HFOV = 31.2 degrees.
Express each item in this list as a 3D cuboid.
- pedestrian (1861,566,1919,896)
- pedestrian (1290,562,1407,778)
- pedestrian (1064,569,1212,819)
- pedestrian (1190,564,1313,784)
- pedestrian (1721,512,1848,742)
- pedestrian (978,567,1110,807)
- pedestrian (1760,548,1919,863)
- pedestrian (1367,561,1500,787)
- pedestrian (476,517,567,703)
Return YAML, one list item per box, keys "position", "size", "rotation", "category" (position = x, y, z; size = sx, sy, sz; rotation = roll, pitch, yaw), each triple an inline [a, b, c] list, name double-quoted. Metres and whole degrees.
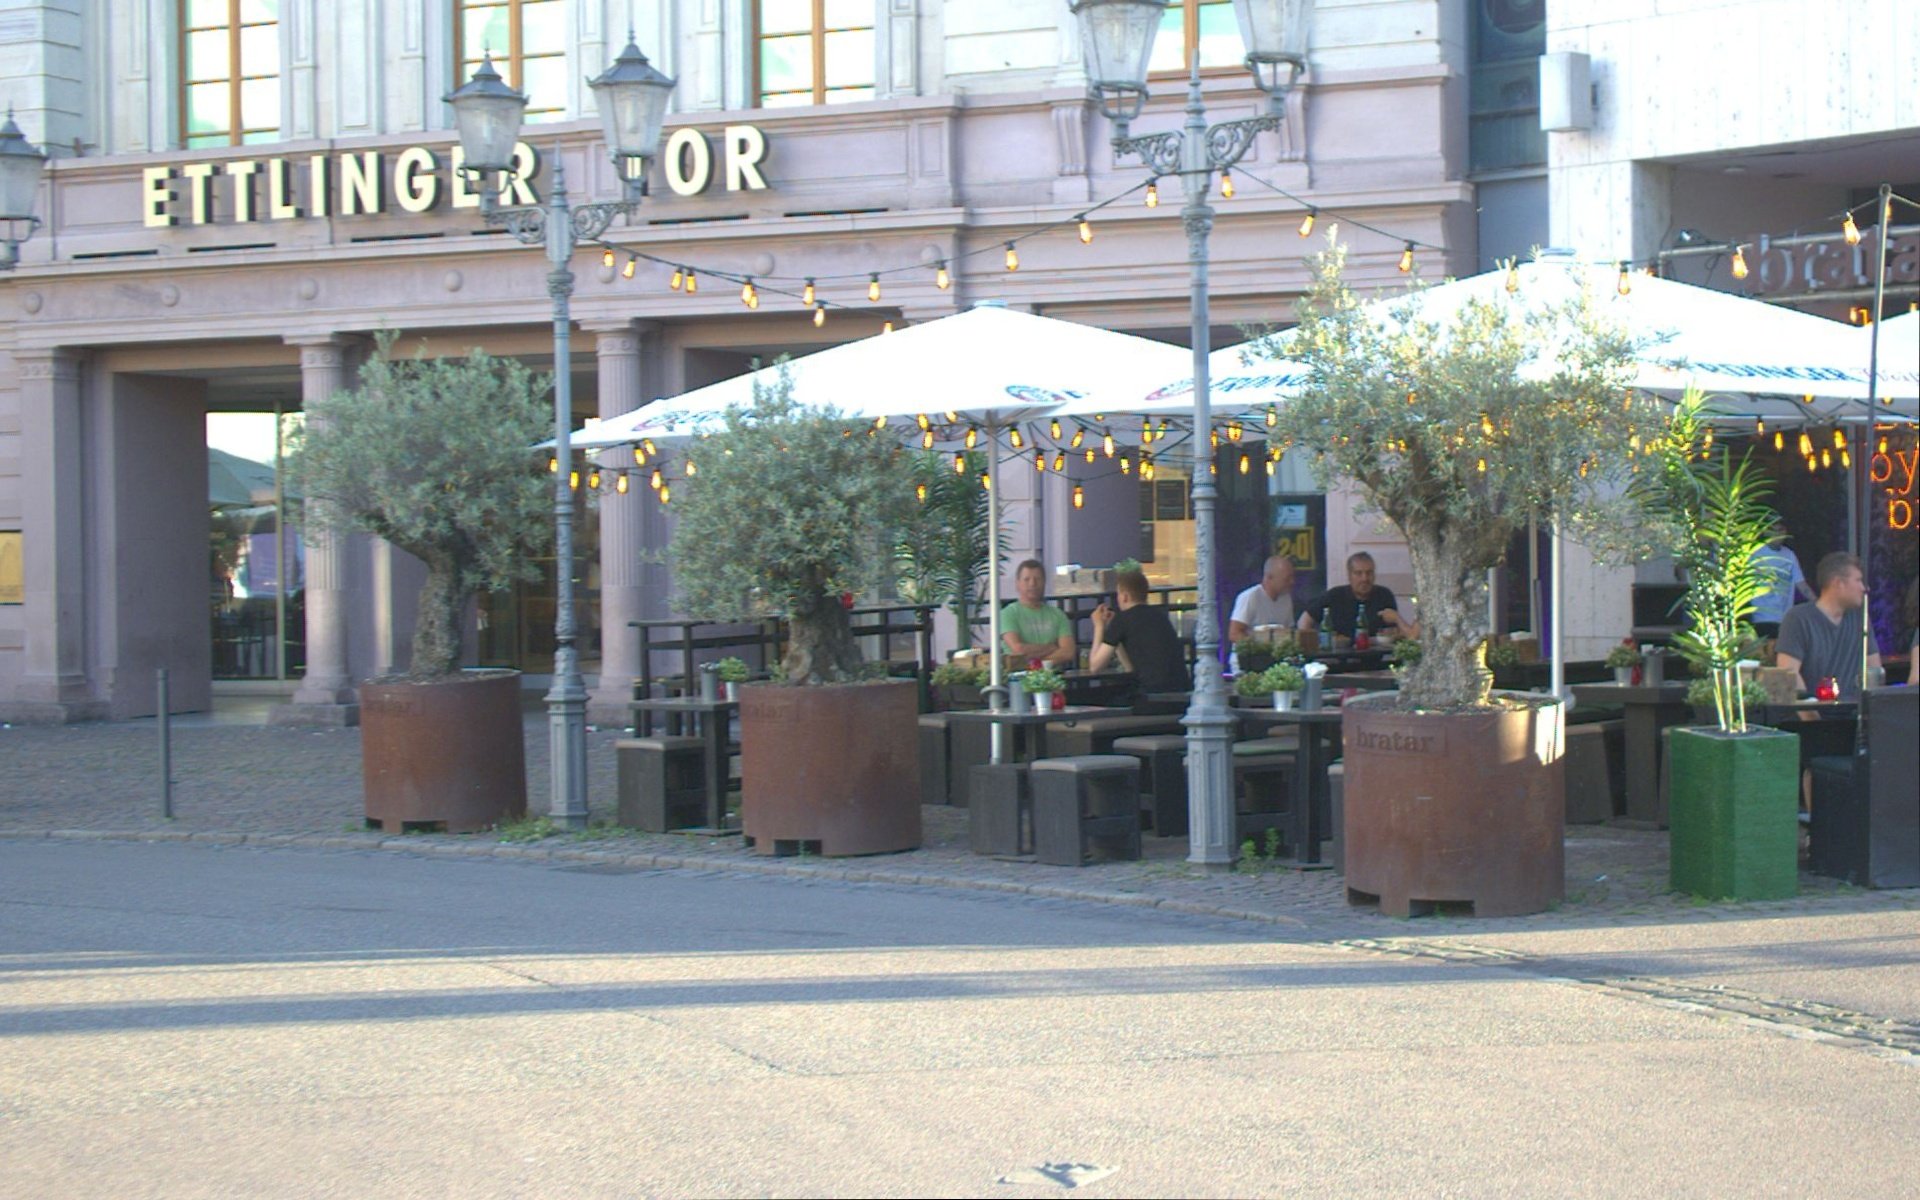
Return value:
- position: [4.500, 0.585, 15.689]
  size: [0.528, 1.473, 0.563]
  rotation: [-1, 1, -17]
  category: "pedestrian"
- position: [2.709, 0.475, 23.995]
  size: [0.543, 1.473, 0.624]
  rotation: [-1, 1, -26]
  category: "pedestrian"
- position: [1.078, 0.553, 20.868]
  size: [0.587, 1.473, 0.684]
  rotation: [-1, 1, -34]
  category: "pedestrian"
- position: [1.995, 0.493, 23.562]
  size: [0.590, 1.473, 0.624]
  rotation: [-1, 1, -26]
  category: "pedestrian"
- position: [6.289, 0.188, 26.242]
  size: [0.616, 1.715, 0.693]
  rotation: [-1, 3, -41]
  category: "pedestrian"
- position: [0.526, 0.532, 21.621]
  size: [0.544, 1.473, 0.624]
  rotation: [-1, 1, -36]
  category: "pedestrian"
- position: [4.220, 0.490, 16.473]
  size: [0.528, 1.473, 0.563]
  rotation: [-1, 1, -18]
  category: "pedestrian"
- position: [3.177, 0.483, 23.054]
  size: [0.624, 1.473, 0.623]
  rotation: [0, 1, 43]
  category: "pedestrian"
- position: [-4.100, 0.090, 32.169]
  size: [0.623, 1.722, 0.544]
  rotation: [0, 1, 28]
  category: "pedestrian"
